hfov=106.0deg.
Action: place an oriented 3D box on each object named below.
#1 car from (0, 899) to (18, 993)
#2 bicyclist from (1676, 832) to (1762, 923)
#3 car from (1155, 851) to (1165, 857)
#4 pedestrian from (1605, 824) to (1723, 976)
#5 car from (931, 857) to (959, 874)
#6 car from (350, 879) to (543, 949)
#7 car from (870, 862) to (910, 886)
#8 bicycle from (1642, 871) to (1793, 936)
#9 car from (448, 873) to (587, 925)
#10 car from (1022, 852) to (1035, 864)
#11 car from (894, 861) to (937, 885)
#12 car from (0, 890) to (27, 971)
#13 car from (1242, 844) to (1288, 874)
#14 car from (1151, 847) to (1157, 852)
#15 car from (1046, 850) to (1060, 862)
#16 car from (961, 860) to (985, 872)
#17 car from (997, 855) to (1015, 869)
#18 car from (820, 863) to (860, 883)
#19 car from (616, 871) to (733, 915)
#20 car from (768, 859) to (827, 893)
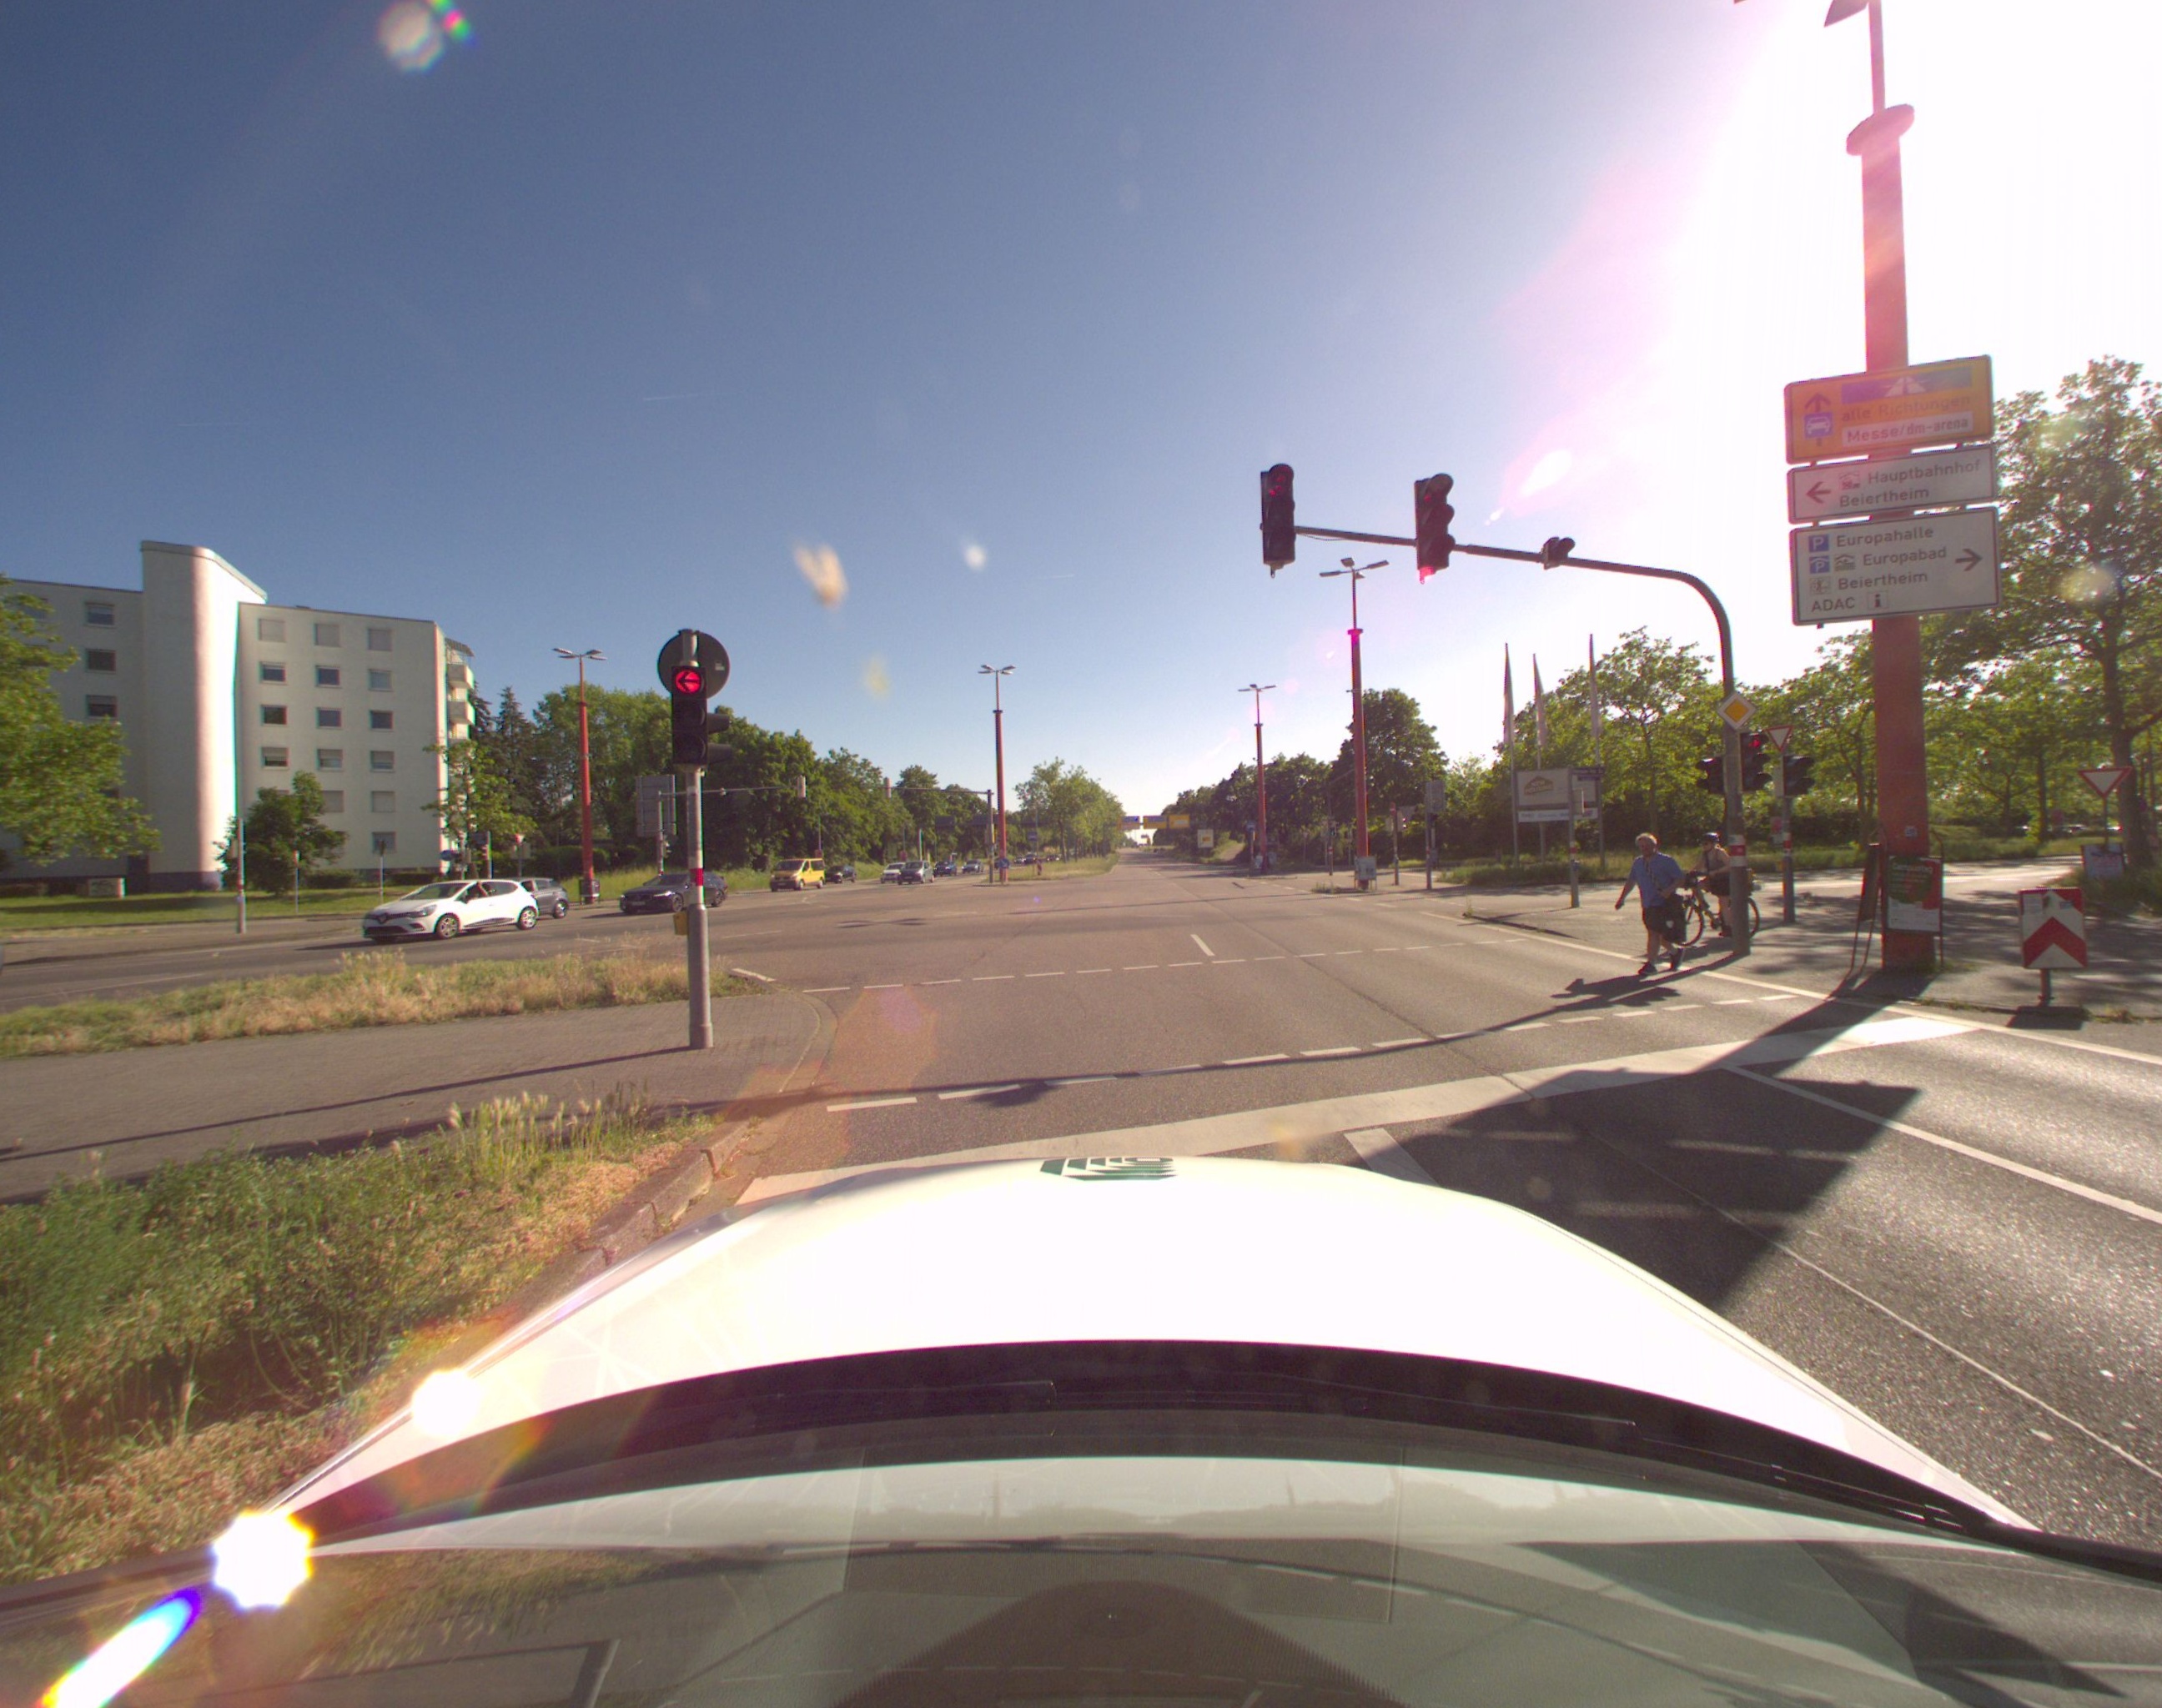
[{"bbox_3d":[-16.735,1.379,10.038,1.542,1.377,4.265,-2,0,3],"label":"car"},{"bbox_3d":[9.846,0.351,12.585,0.739,1.341,0.705,-2,0,-9],"label":"bicyclist"},{"bbox_3d":[18.576,0.043,192.302,2.047,1.371,4.393,-2,0,2],"label":"car"},{"bbox_3d":[7.307,0.538,10.224,0.897,1.788,0.891,-1,0,-31],"label":"pedestrian"},{"bbox_3d":[-12.600,1.054,75.630,1.696,1.558,3.807,-1,-1,4],"label":"car"},{"bbox_3d":[-15.943,1.440,20.756,1.598,1.459,3.954,-2,0,4],"label":"car"},{"bbox_3d":[-13.884,1.432,59.309,1.696,1.596,4.004,-1,-1,4],"label":"car"},{"bbox_3d":[9.825,0.747,12.584,2.163,0.878,0.557,-2,0,-12],"label":"bicycle"},{"bbox_3d":[-18.712,1.450,27.285,1.689,1.464,4.003,-2,0,3],"label":"car"},{"bbox_3d":[-8.900,0.713,138.362,1.997,2.014,4.000,-1,-1,0],"label":"car"},{"bbox_3d":[-10.619,1.196,52.440,1.693,1.421,4.003,1,-1,3],"label":"car"},{"bbox_3d":[-20.090,1.392,12.915,1.537,1.433,3.889,-3,-1,3],"label":"car"},{"bbox_3d":[12.141,0.294,53.653,1.975,1.887,4.024,-2,0,27],"label":"car"},{"bbox_3d":[22.390,-1.351,250.019,1.730,1.341,3.084,-1,0,3],"label":"car"},{"bbox_3d":[-4.135,0.329,121.014,1.649,1.747,4.005,-1,-1,4],"label":"car"},{"bbox_3d":[-11.822,1.304,89.454,1.997,1.308,4.000,-2,0,0],"label":"car"},{"bbox_3d":[-9.849,1.000,107.372,1.618,1.739,4.004,-2,0,4],"label":"car"},{"bbox_3d":[-19.978,1.562,67.602,1.985,1.638,4.002,-1,-1,2],"label":"car"},{"bbox_3d":[-14.825,1.379,30.015,1.621,1.368,4.801,-2,0,4],"label":"car"},{"bbox_3d":[-17.576,1.317,50.727,1.750,1.987,4.793,-1,-1,3],"label":"car"}]
